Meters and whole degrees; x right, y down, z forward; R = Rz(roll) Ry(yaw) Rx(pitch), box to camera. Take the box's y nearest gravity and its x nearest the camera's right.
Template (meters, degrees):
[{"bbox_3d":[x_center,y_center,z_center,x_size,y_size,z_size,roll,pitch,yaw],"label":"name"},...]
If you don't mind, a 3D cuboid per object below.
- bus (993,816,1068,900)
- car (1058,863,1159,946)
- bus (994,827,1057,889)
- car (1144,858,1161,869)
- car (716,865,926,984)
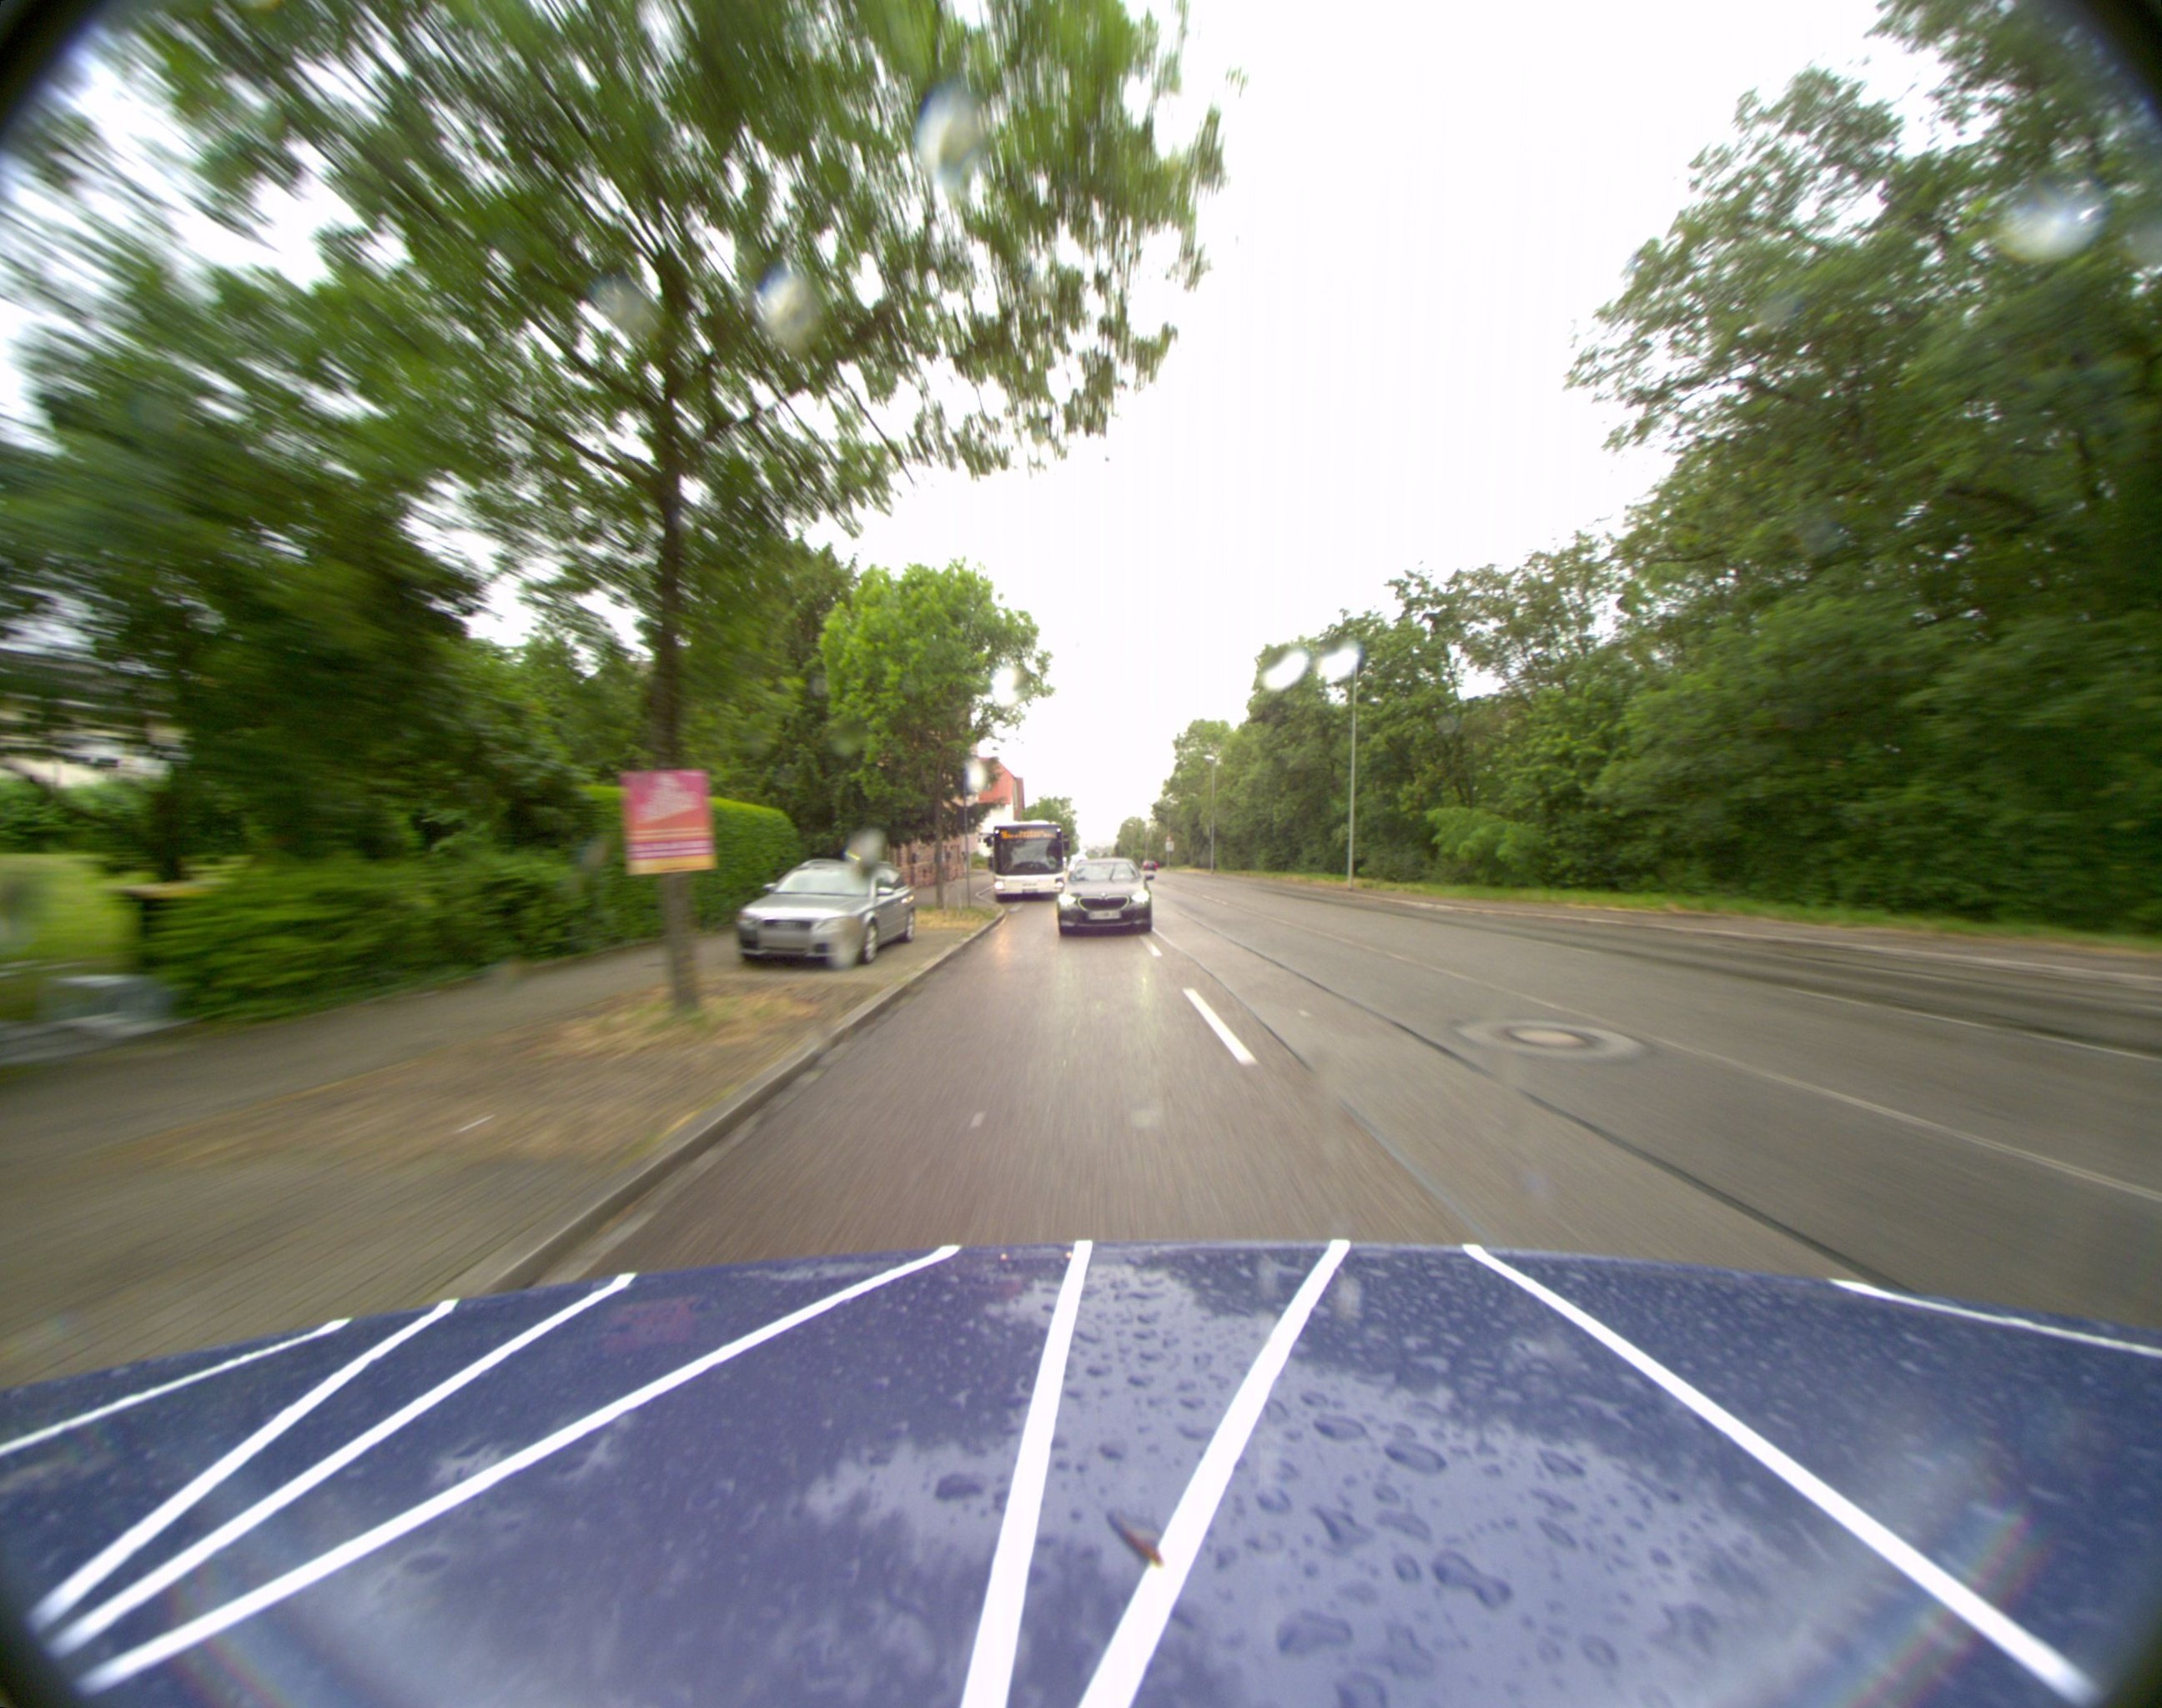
[{"bbox_3d":[-2.308,0.163,31.480,2.564,2.942,9.444,-1,0,-7],"label":"bus"},{"bbox_3d":[0.538,0.988,16.570,1.855,1.461,4.483,-2,0,0],"label":"car"},{"bbox_3d":[-2.779,0.206,40.214,2.561,2.942,8.557,-1,0,1],"label":"bus"},{"bbox_3d":[9.620,1.251,102.918,1.748,1.423,4.388,2,0,-1],"label":"car"},{"bbox_3d":[-3.723,0.915,11.775,1.692,1.381,4.499,2,0,0],"label":"car"}]
